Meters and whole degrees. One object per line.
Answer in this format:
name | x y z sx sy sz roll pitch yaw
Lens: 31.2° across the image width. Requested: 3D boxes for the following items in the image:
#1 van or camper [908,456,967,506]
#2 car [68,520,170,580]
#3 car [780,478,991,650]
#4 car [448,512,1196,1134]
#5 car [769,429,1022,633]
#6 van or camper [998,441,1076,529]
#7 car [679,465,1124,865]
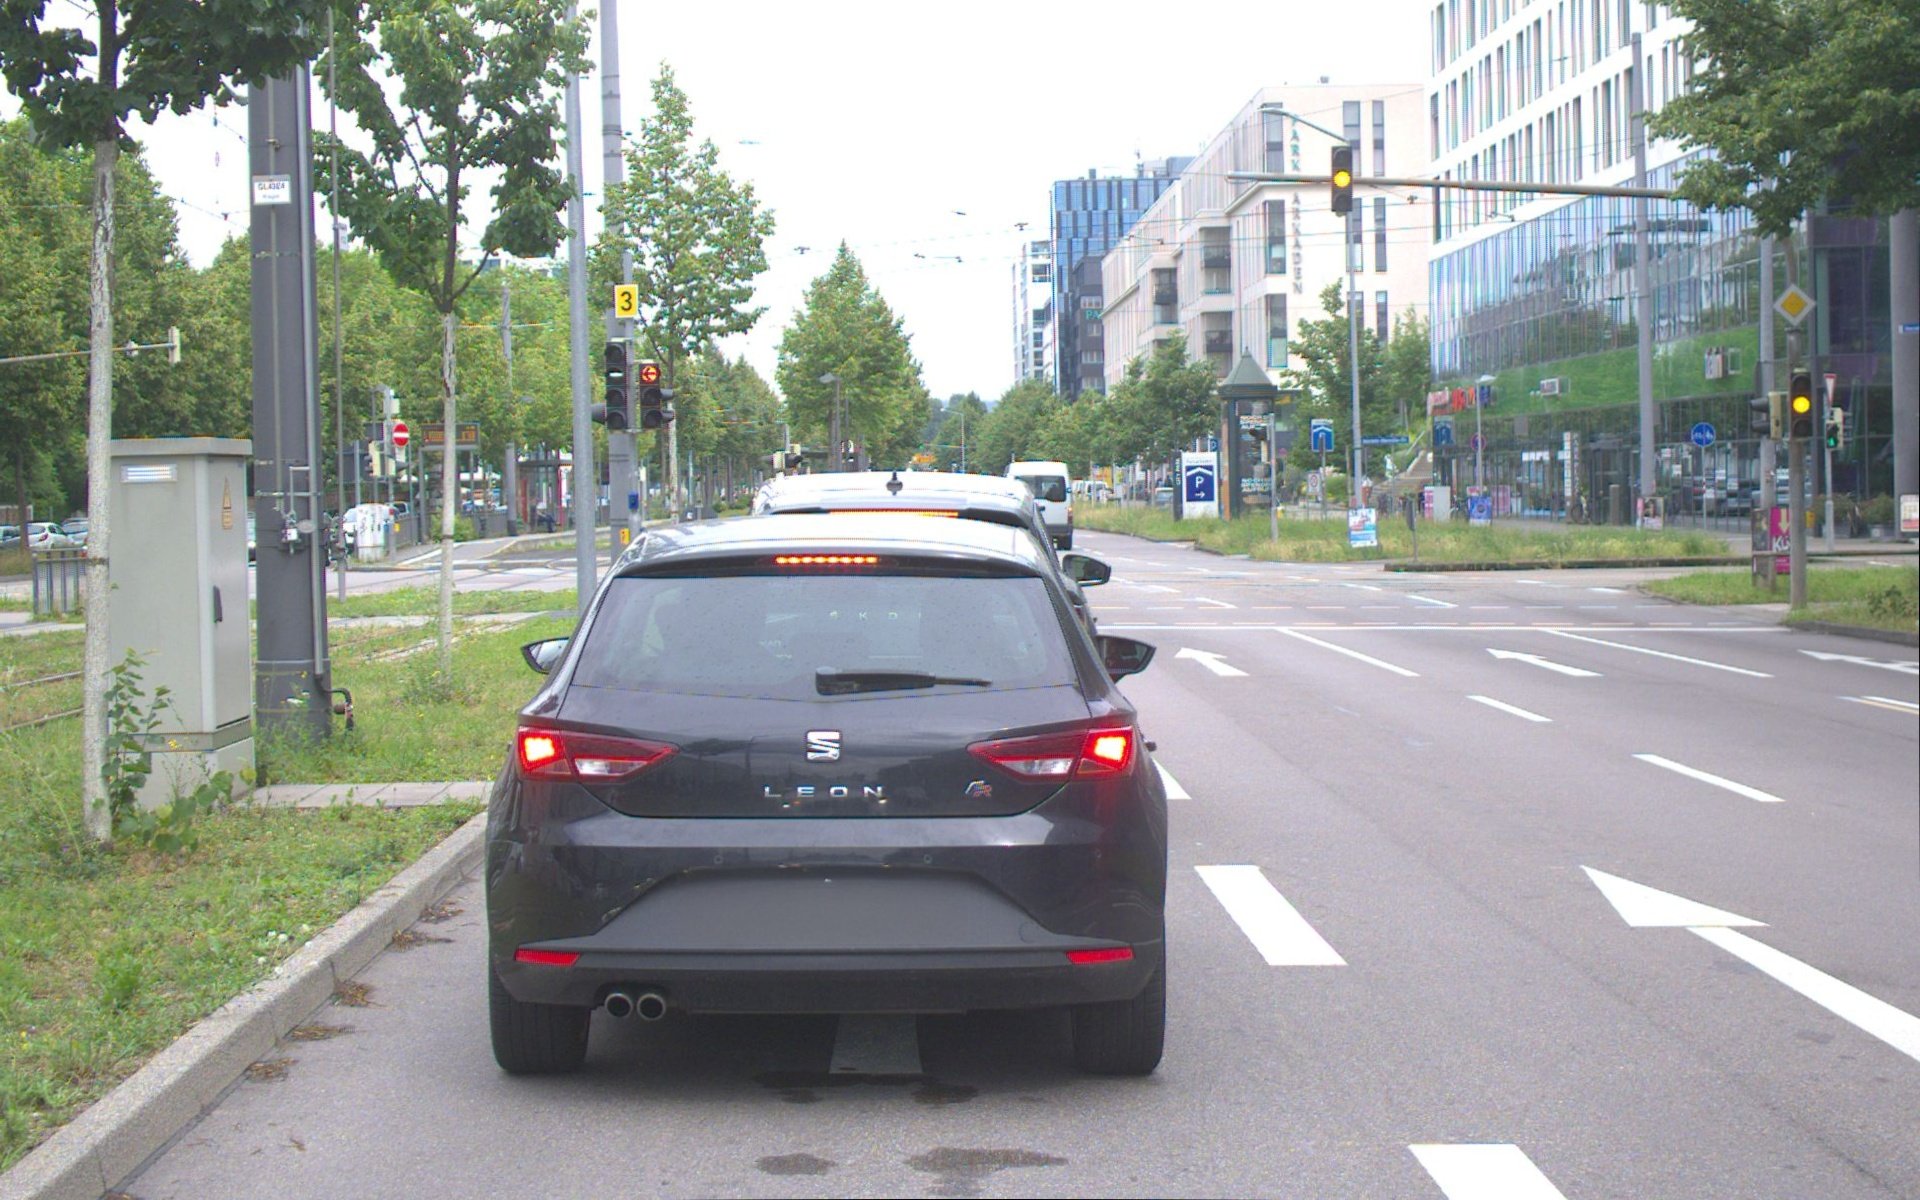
van or camper | -0.757 -4.107 118.086 1.993 1.609 4.790 0 3 0
car | -24.021 -1.449 98.332 1.796 1.565 4.328 -1 2 1
car | -0.713 -0.426 35.850 1.993 1.676 4.000 0 2 2
car | -0.371 0.476 10.053 1.743 1.412 4.001 0 2 -1
car | -0.497 -0.647 30.414 1.994 1.676 4.000 0 2 2
van or camper | 2.178 -3.317 98.501 2.109 2.347 4.924 0 4 0
car | -0.261 0.199 16.151 1.802 1.618 4.001 -1 2 -1
